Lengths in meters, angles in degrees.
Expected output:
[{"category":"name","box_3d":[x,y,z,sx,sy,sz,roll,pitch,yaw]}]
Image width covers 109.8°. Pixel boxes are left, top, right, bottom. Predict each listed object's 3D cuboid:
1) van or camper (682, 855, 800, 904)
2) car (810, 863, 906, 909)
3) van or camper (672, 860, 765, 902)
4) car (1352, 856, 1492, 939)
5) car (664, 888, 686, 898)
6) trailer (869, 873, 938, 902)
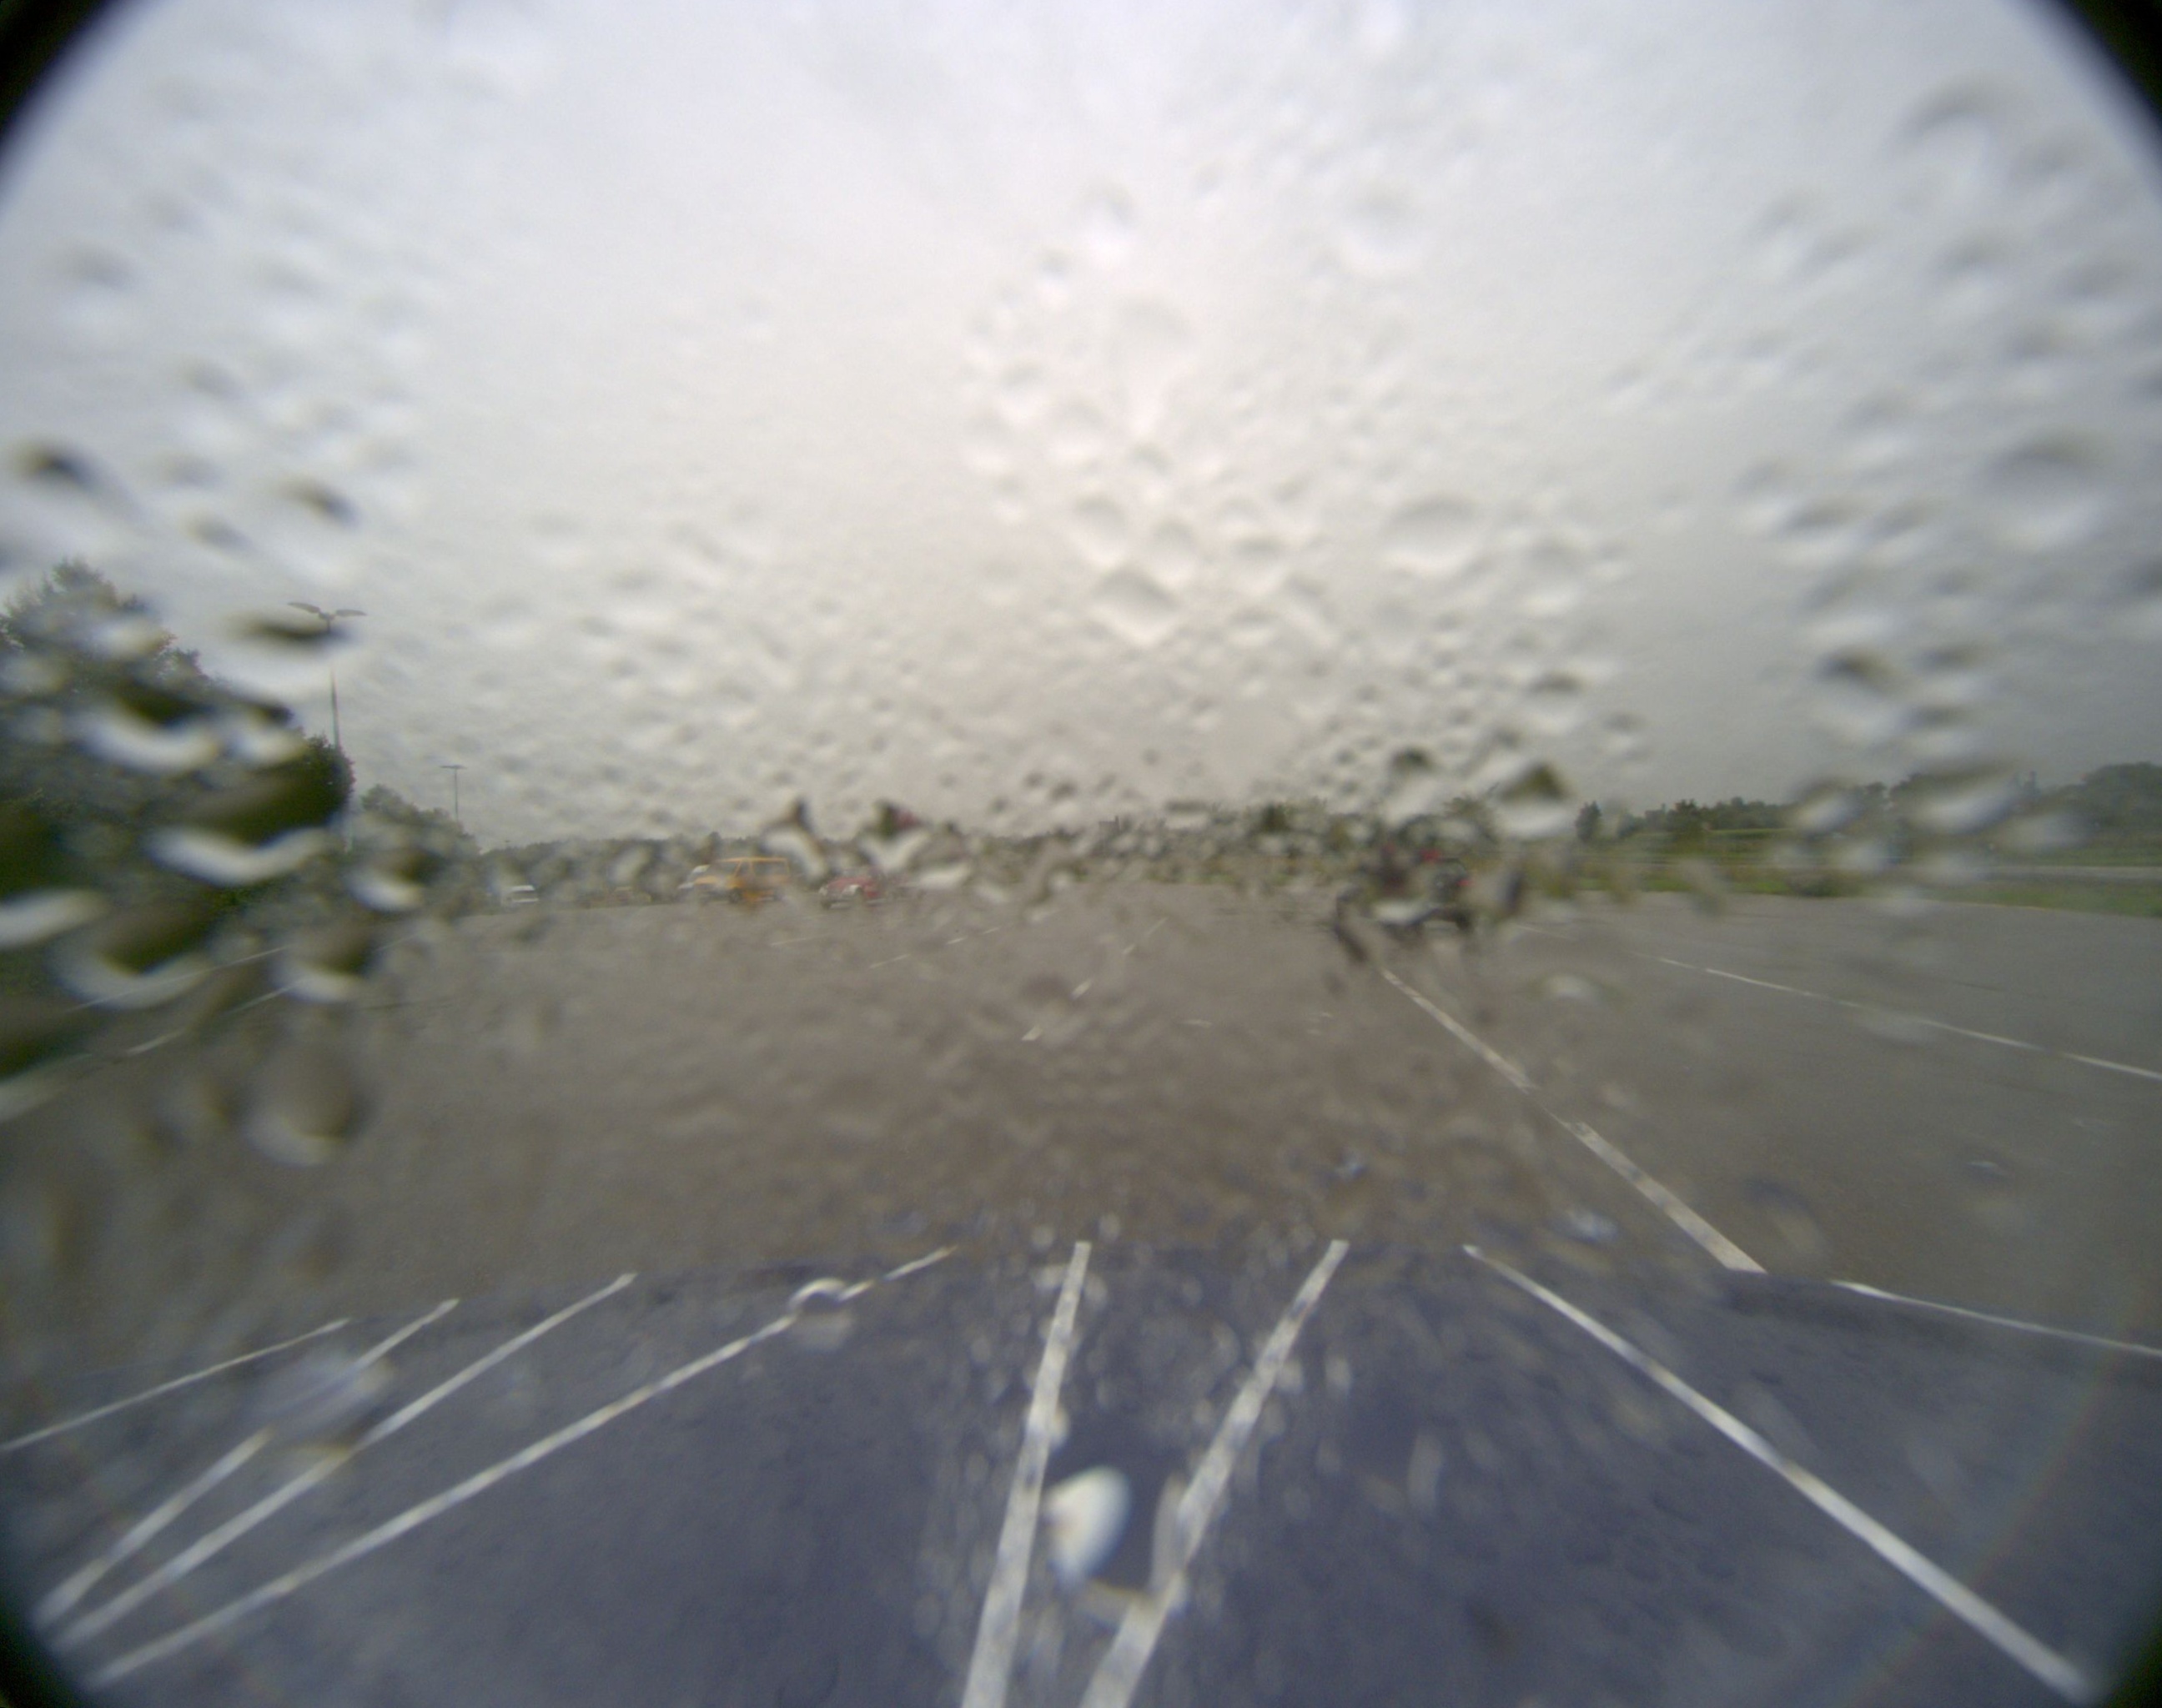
[{"category":"van or camper","box_3d":[-17.283,1.225,39.149,2.131,2.233,6.424,-1,0,12]},{"category":"car","box_3d":[-8.285,1.156,28.650,1.547,1.546,4.061,-2,0,15]},{"category":"van or camper","box_3d":[-25.309,1.811,53.442,1.996,2.699,7.075,0,0,12]},{"category":"car","box_3d":[6.766,0.787,15.534,1.776,1.425,4.082,-2,0,12]},{"category":"car","box_3d":[-47.840,4.558,89.515,1.712,0.994,3.757,-2,0,-38]},{"category":"trailer","box_3d":[-7.462,1.399,32.219,1.586,1.061,3.034,-2,-1,15]}]
